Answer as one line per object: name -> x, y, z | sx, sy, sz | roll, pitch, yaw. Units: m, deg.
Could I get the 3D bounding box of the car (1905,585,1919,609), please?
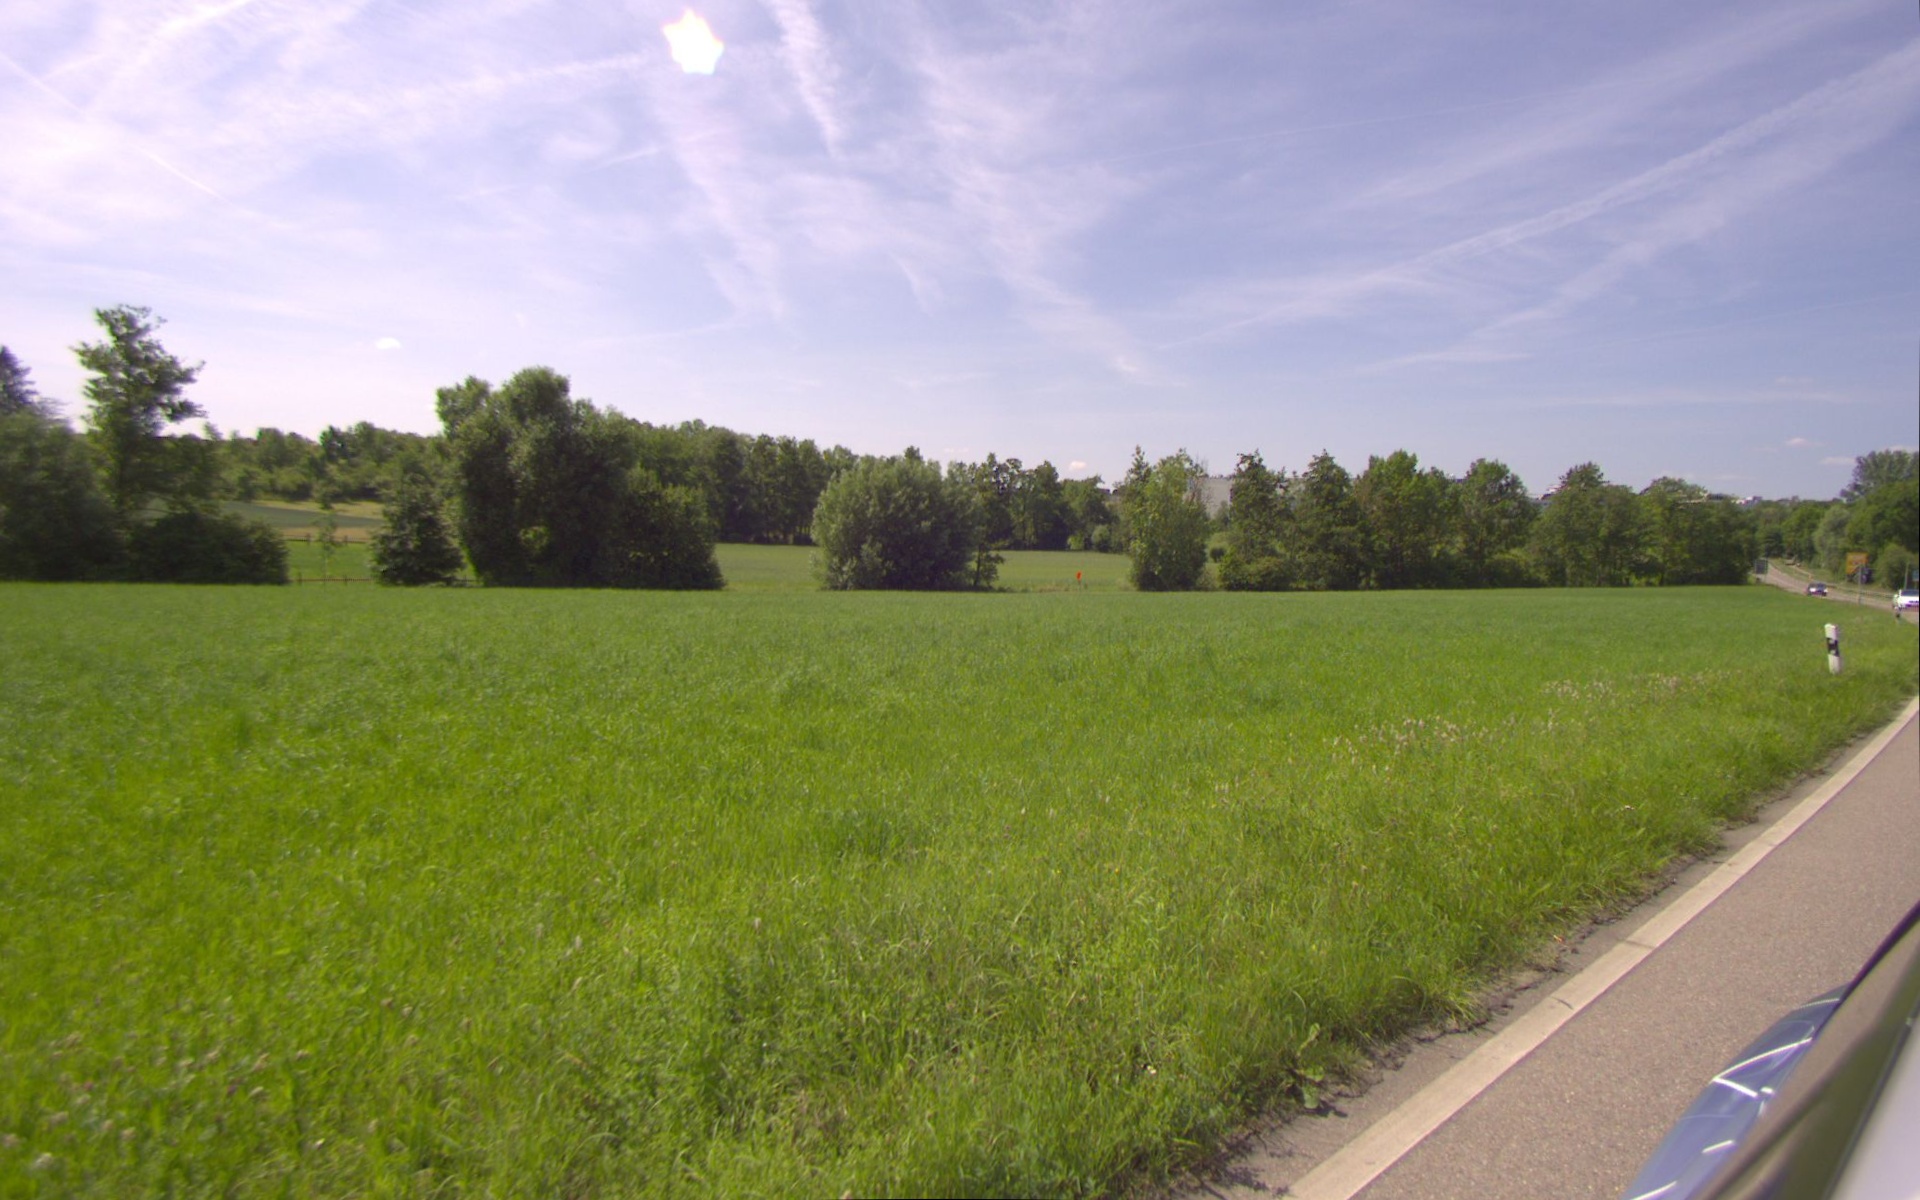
car -> 67.362, -0.203, 70.522 | 1.991, 1.604, 3.942 | 2, 2, 40

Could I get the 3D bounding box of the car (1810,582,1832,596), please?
car -> 105.777, -1.334, 124.381 | 1.992, 1.604, 3.942 | 3, 2, 40
